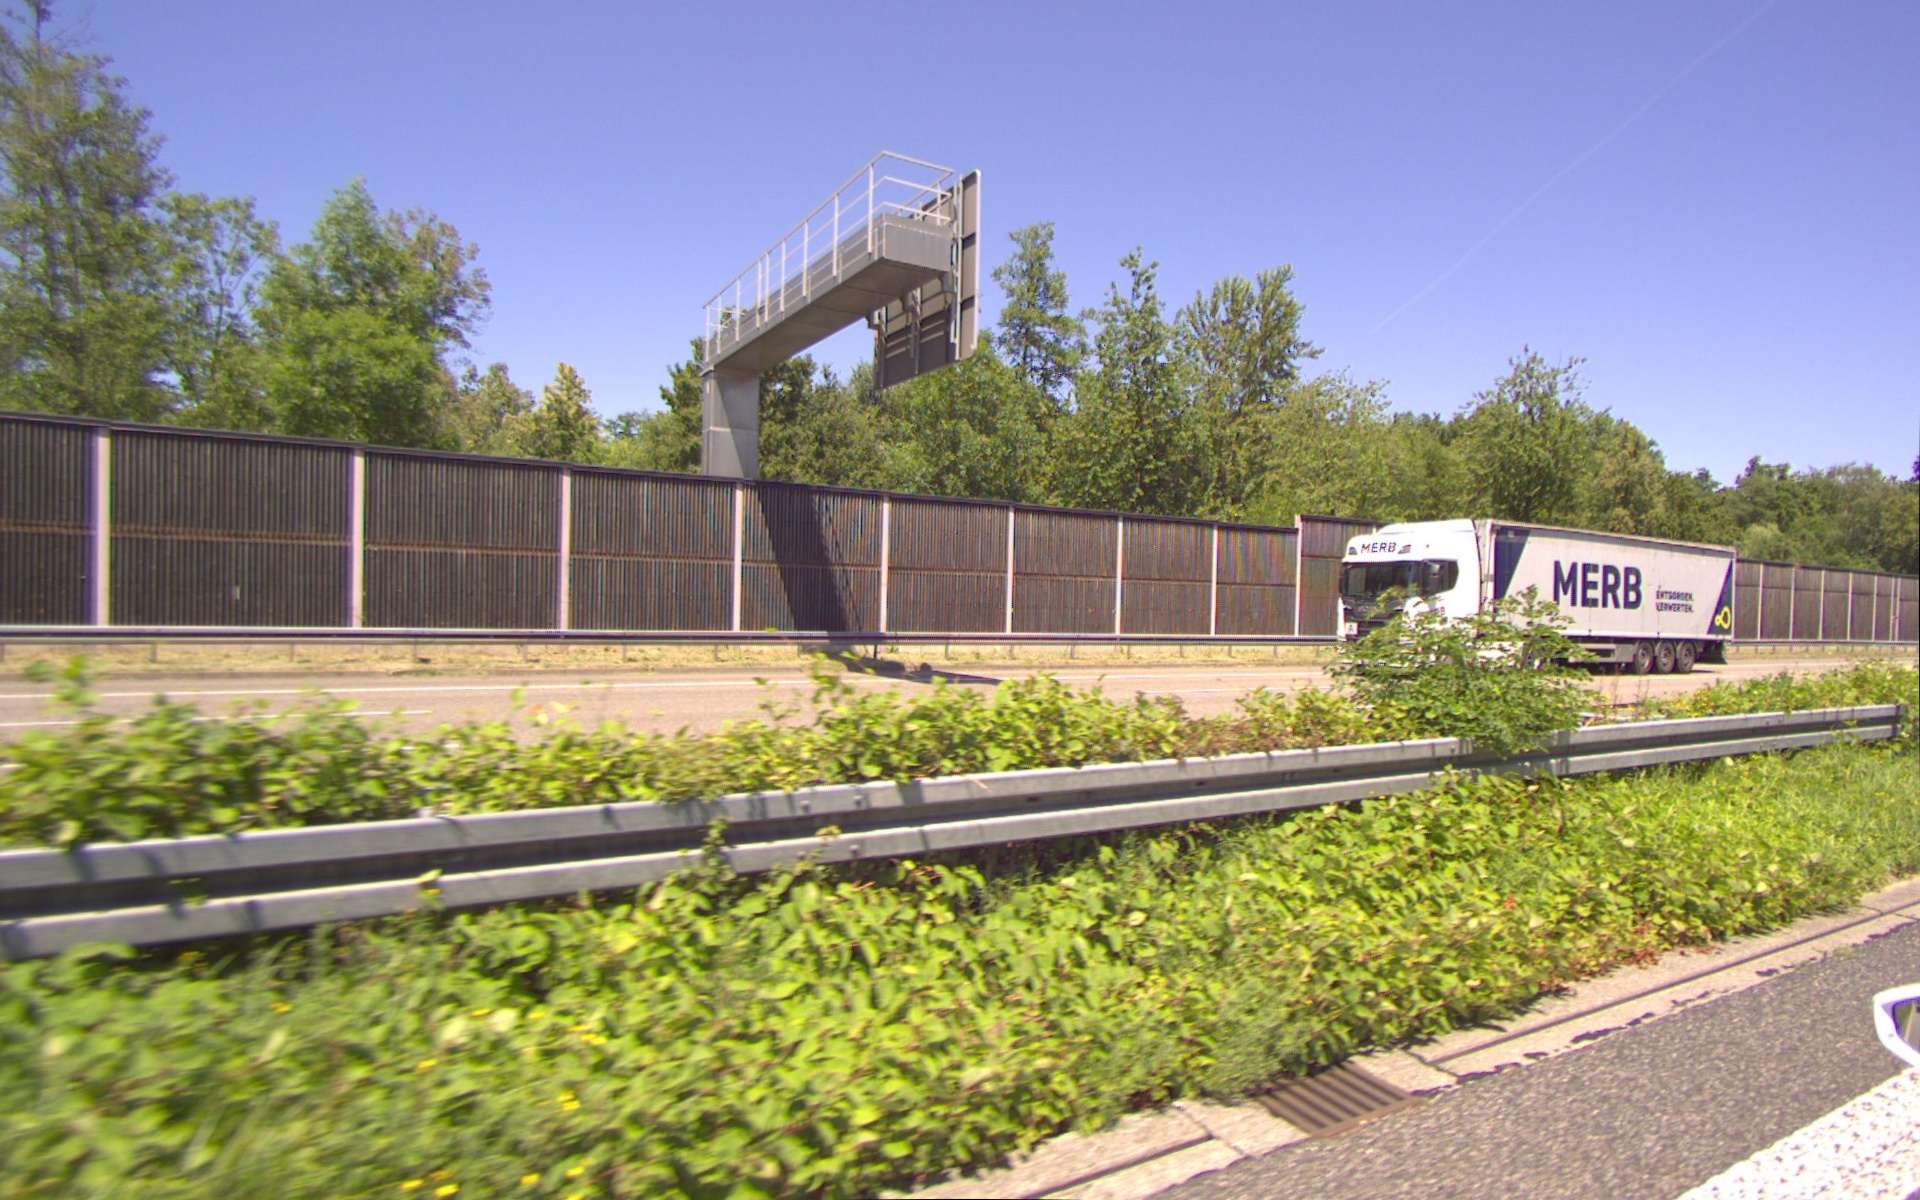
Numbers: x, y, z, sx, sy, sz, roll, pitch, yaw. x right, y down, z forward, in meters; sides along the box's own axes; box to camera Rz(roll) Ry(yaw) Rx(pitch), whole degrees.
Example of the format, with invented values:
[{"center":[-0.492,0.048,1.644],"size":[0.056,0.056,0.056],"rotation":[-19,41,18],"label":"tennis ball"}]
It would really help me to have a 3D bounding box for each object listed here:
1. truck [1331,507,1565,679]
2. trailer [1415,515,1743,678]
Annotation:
[{"center":[13.027,-0.101,26.703],"size":[6.297,4.120,2.507],"rotation":[1,0,-31],"label":"truck"},{"center":[19.070,0.067,30.321],"size":[13.496,4.190,2.472],"rotation":[2,0,-31],"label":"trailer"}]
